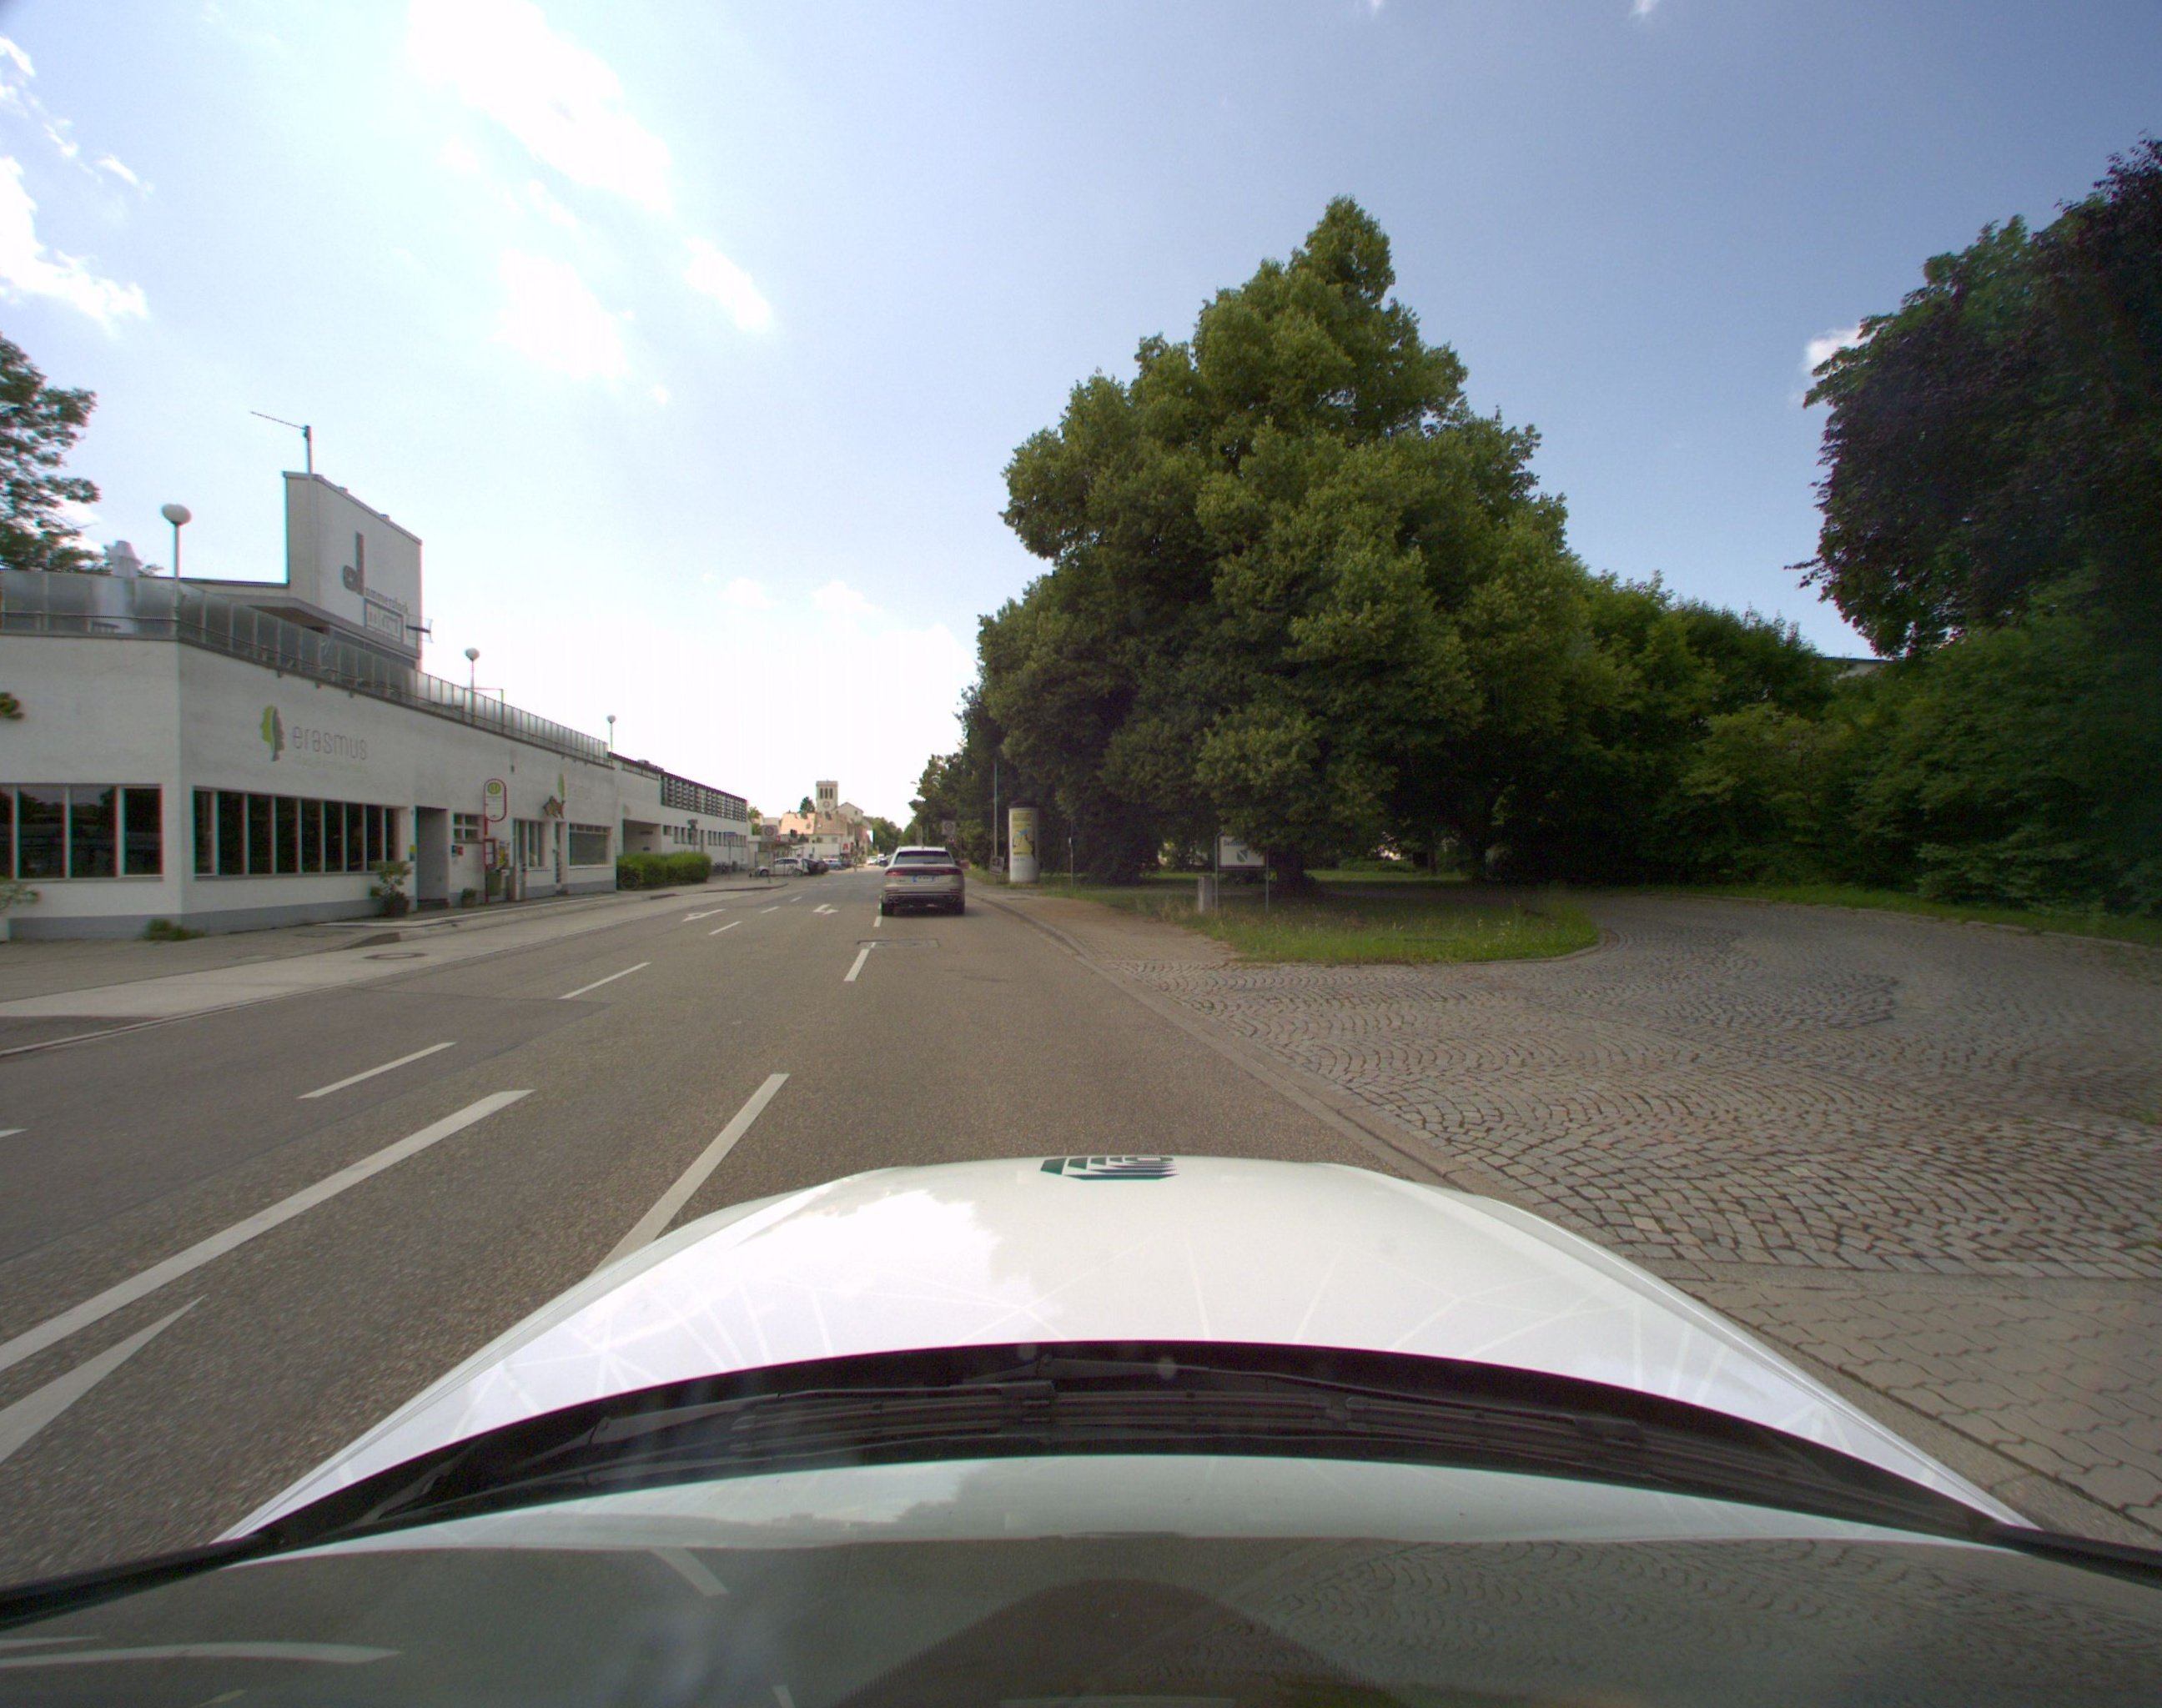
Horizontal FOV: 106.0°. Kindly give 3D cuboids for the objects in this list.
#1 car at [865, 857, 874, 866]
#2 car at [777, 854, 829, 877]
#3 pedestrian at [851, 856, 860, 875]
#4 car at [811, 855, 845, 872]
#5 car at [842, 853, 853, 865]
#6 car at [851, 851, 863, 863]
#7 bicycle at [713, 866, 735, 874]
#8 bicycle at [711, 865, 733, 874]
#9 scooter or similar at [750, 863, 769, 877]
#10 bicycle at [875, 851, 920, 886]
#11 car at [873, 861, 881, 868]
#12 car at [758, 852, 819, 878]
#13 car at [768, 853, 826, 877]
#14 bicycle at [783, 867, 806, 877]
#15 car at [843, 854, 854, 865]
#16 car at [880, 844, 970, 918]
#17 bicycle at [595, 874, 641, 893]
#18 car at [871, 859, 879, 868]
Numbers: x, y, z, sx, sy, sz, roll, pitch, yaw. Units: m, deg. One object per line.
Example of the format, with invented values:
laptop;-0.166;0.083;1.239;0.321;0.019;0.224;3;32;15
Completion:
car;-45.050;1.656;173.113;1.786;1.855;3.979;-1;0;-15
car;-26.370;1.098;77.400;4.644;2.014;1.988;-1;-1;-18
pedestrian;-25.401;1.285;91.860;0.910;2.135;1.010;-1;0;-12
car;-32.392;1.202;104.306;3.999;2.013;1.988;-1;0;-19
car;-42.698;0.914;148.960;1.997;2.013;3.979;-1;0;-15
car;-38.307;0.540;139.275;1.997;2.013;3.979;-1;0;-15
bicycle;-31.287;1.390;71.293;1.683;0.757;0.564;1;-1;-39
bicycle;-31.721;1.391;71.925;1.683;0.757;0.564;1;-1;-39
scooter or similar;-24.770;1.231;62.759;0.628;0.995;1.971;0;-2;-43
bicycle;-9.527;0.705;42.139;1.998;1.675;4.185;-1;0;-16
car;-51.052;2.632;203.568;1.786;1.855;3.979;-1;0;-15
car;-23.894;0.926;66.695;4.644;2.014;1.988;-1;-1;-18
car;-24.579;0.942;70.649;4.644;2.014;1.988;-1;-1;-18
bicycle;-22.108;1.376;62.912;1.674;0.757;0.567;0;-1;-18
car;-46.440;1.061;162.447;1.997;2.013;3.979;-1;0;-15
car;-3.935;0.613;21.176;1.980;1.684;4.563;0;0;-7
bicycle;-20.000;1.258;35.204;1.680;0.757;0.407;-1;0;-30
car;-46.545;2.113;183.952;1.786;1.855;3.979;-1;0;-15
